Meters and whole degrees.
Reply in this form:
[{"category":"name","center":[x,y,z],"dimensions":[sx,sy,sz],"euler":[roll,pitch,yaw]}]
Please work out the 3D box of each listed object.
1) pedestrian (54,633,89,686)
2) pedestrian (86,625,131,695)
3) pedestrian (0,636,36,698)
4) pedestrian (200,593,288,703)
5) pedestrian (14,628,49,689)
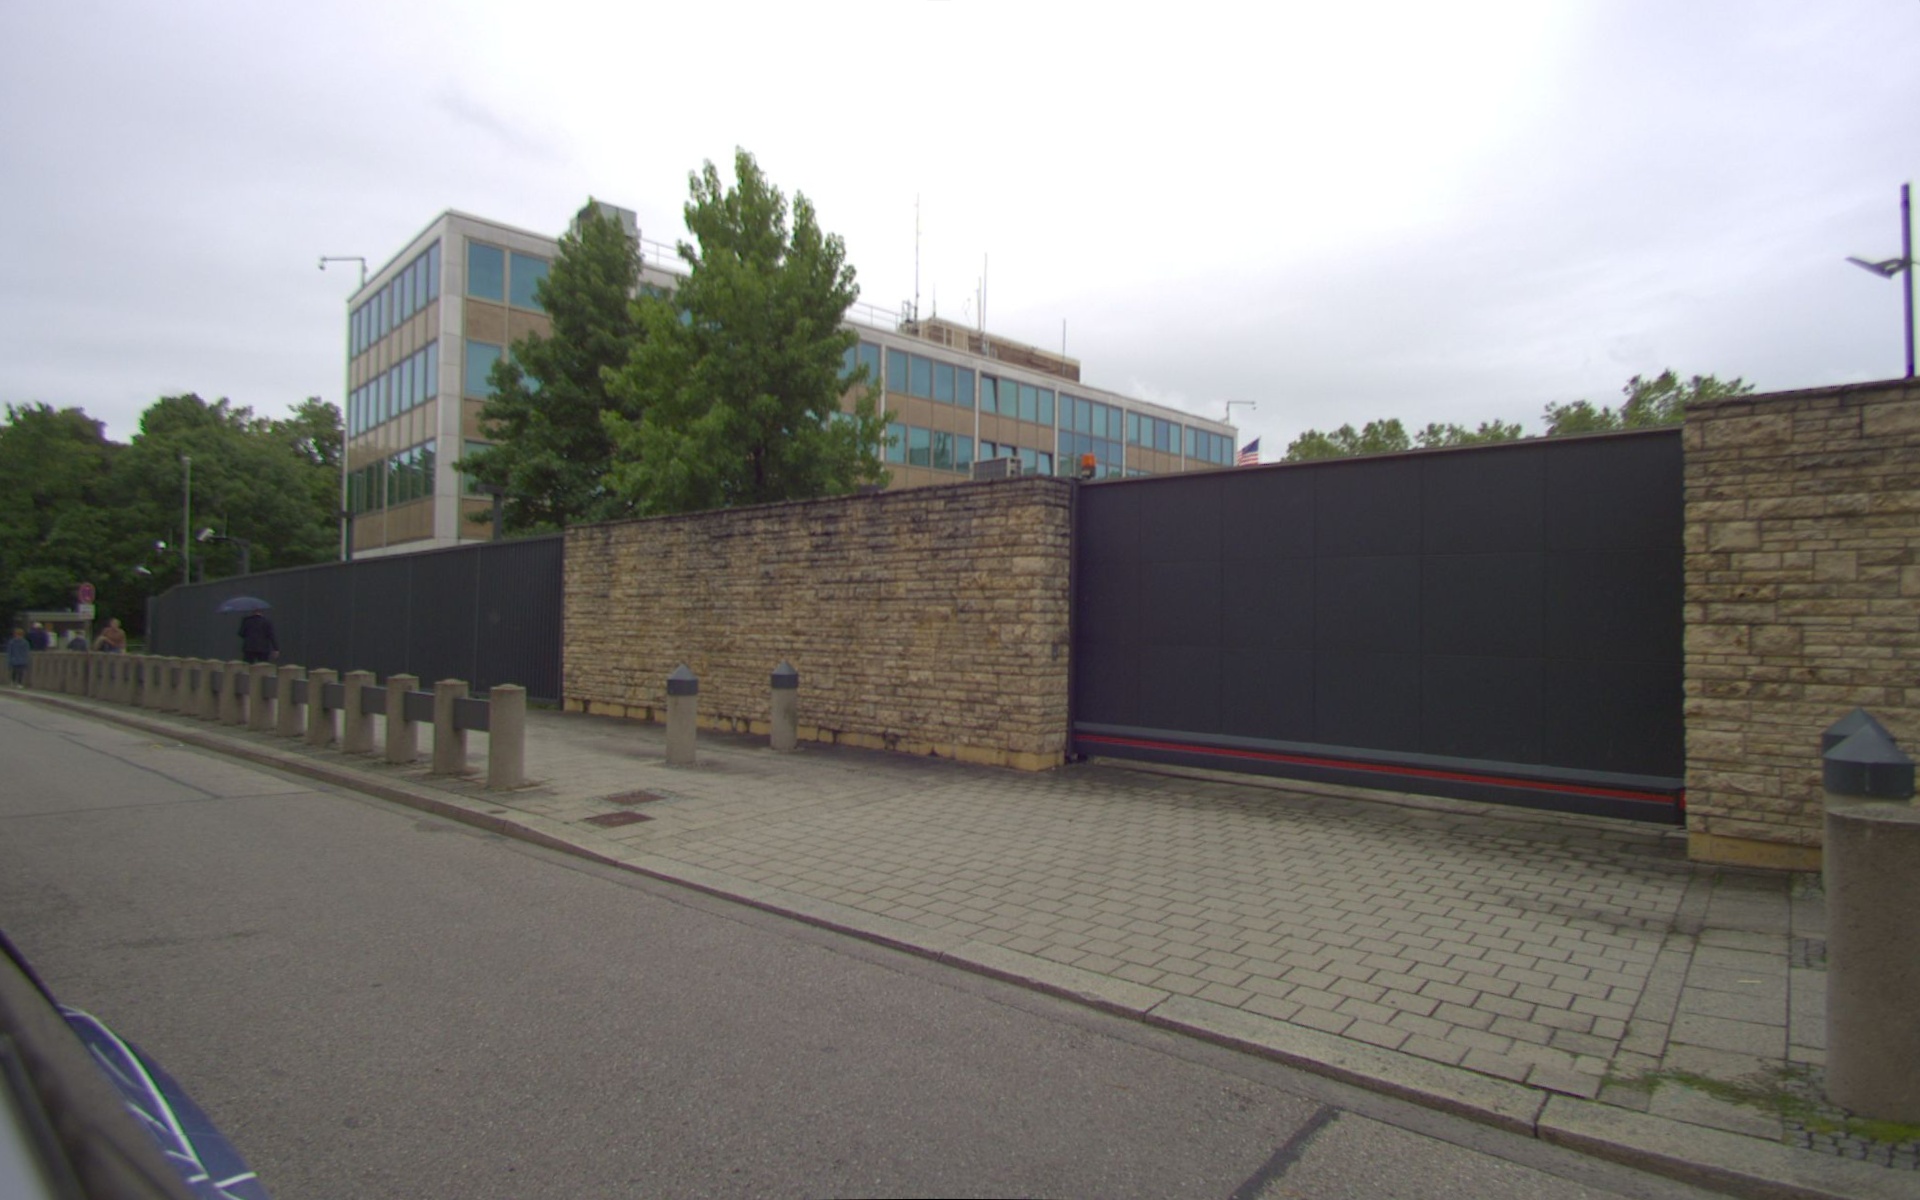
[{"category":"pedestrian","center":[-26.812,1.786,30.526],"dimensions":[0.768,1.551,0.934],"euler":[-1,-1,-42]},{"category":"pedestrian","center":[-22.081,1.539,26.239],"dimensions":[0.814,1.736,0.906],"euler":[-1,-1,-45]},{"category":"pedestrian","center":[-23.441,1.650,25.091],"dimensions":[1.078,1.478,0.632],"euler":[-2,-1,41]},{"category":"pedestrian","center":[-14.374,0.953,20.323],"dimensions":[1.116,2.120,1.210],"euler":[-2,-3,42]},{"category":"pedestrian","center":[-27.334,1.712,29.795],"dimensions":[0.766,1.782,0.617],"euler":[-2,-3,40]}]
